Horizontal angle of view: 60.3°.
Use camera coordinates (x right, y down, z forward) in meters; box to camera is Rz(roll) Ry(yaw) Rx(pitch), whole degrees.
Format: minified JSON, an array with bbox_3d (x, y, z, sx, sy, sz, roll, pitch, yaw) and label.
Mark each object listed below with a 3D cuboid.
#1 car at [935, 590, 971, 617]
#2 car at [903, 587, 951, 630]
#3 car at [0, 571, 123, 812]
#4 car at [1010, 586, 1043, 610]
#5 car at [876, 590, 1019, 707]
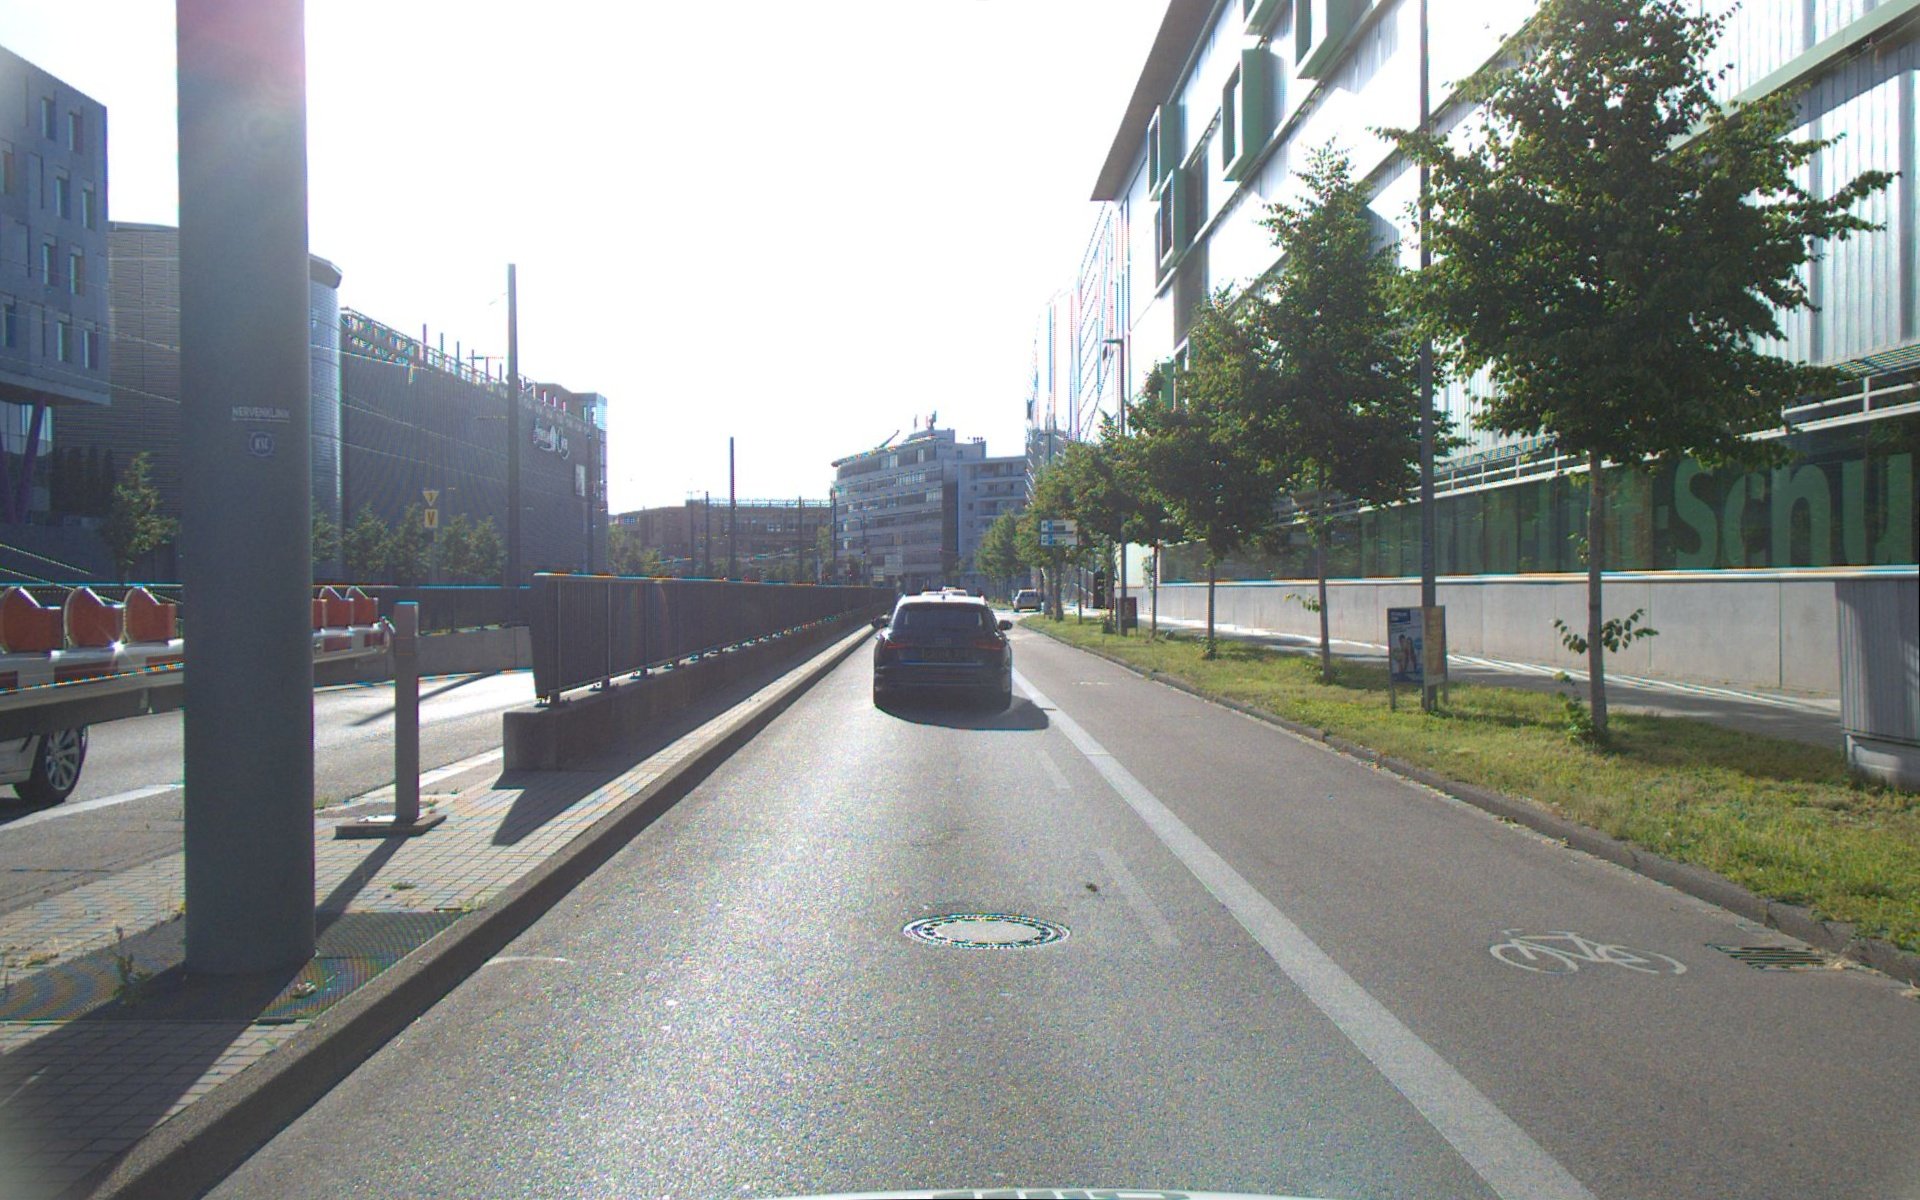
[{"bbox_3d":[-0.432,0.201,97.437,1.953,1.491,3.999,1,1,-2],"label":"car"},{"bbox_3d":[-1.318,0.299,64.999,1.815,1.573,3.999,1,1,-2],"label":"car"},{"bbox_3d":[-7.073,0.591,10.111,1.763,1.553,4.905,1,1,-5],"label":"car"},{"bbox_3d":[4.489,-0.170,112.403,1.815,1.506,4.852,-2,1,-2],"label":"car"},{"bbox_3d":[-0.222,0.601,23.067,1.776,1.452,4.688,-1,0,-2],"label":"car"}]
